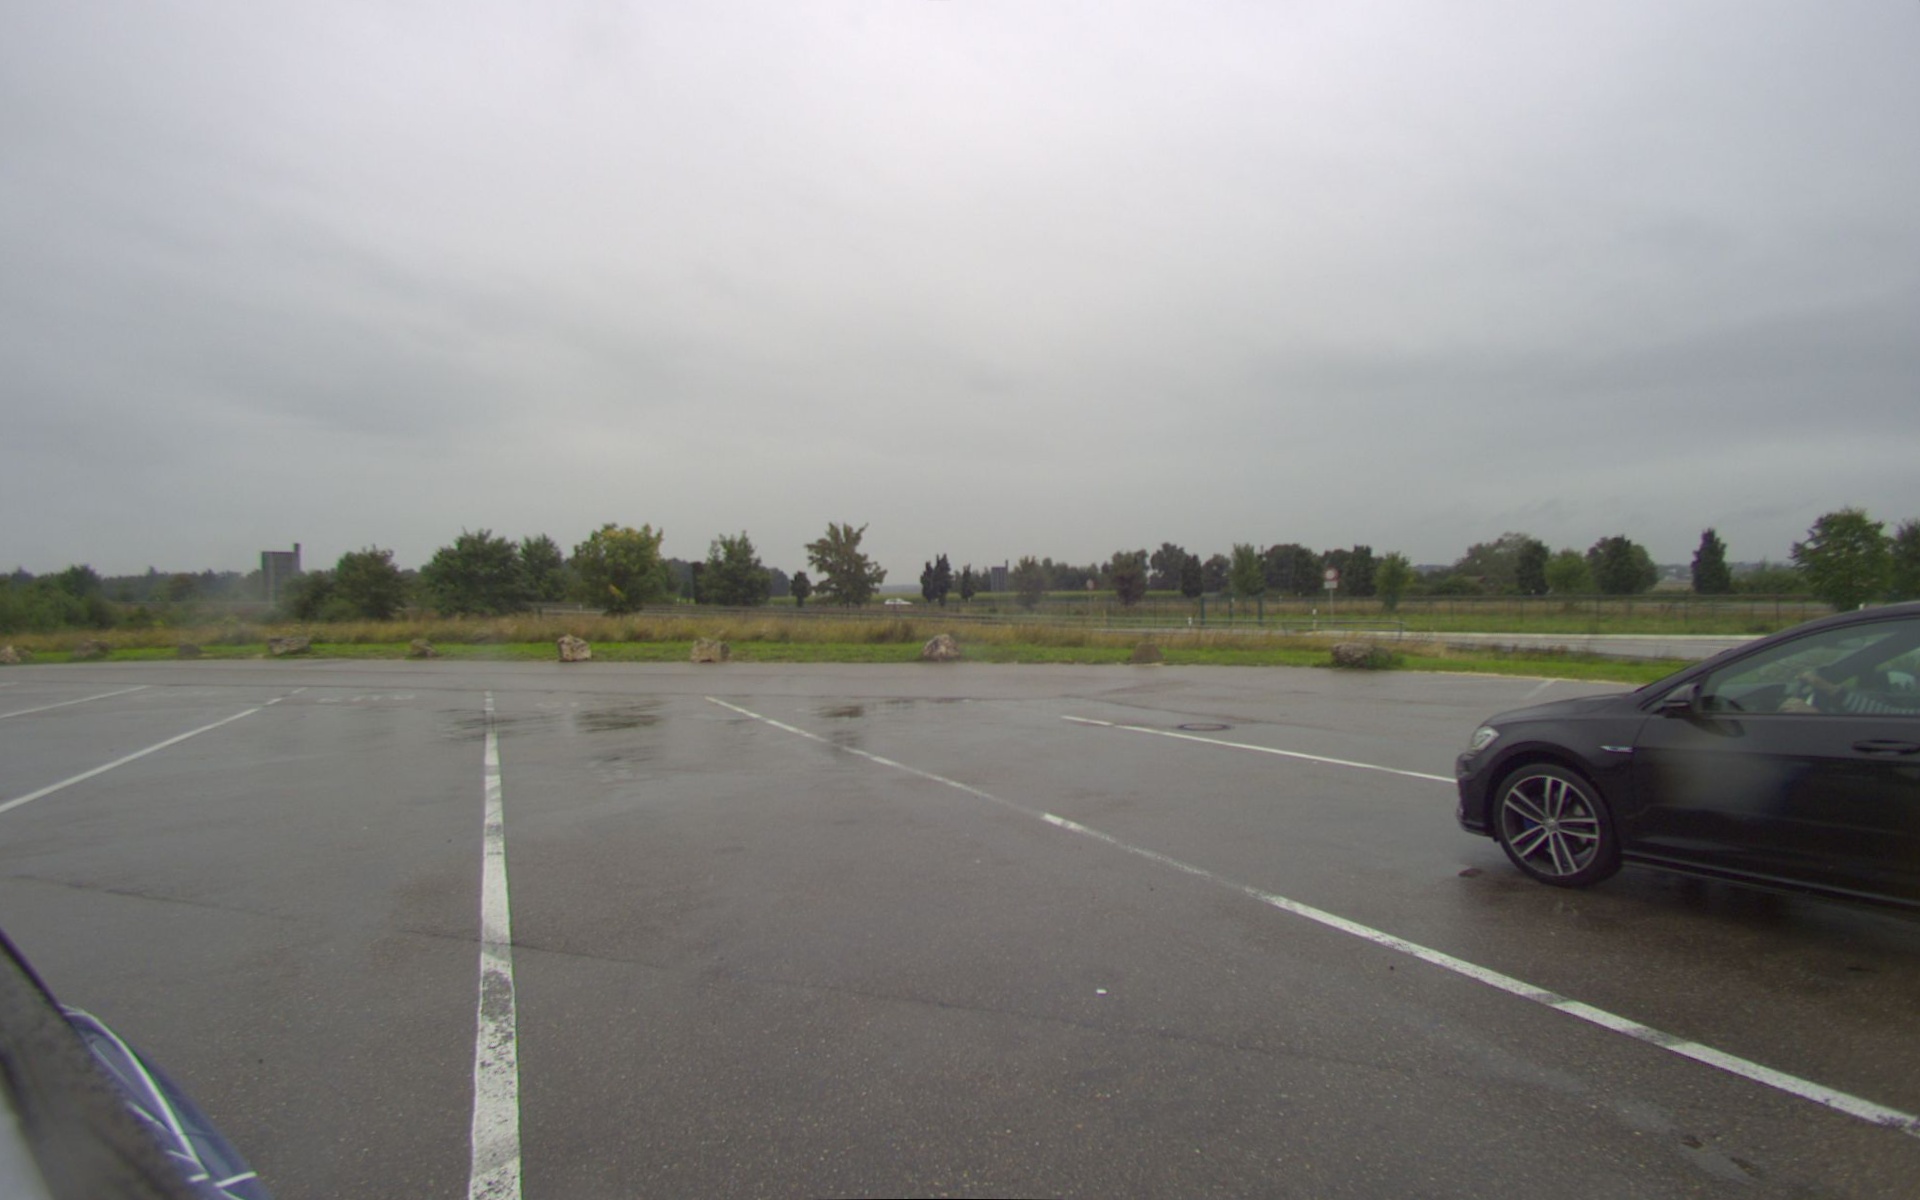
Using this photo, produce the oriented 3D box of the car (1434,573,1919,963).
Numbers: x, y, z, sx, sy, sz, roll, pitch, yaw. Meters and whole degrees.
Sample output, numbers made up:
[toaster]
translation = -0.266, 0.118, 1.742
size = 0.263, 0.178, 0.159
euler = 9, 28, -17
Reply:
[car]
translation = 4.310, 0.610, 4.161
size = 1.749, 1.444, 4.092
euler = -1, 0, -25
